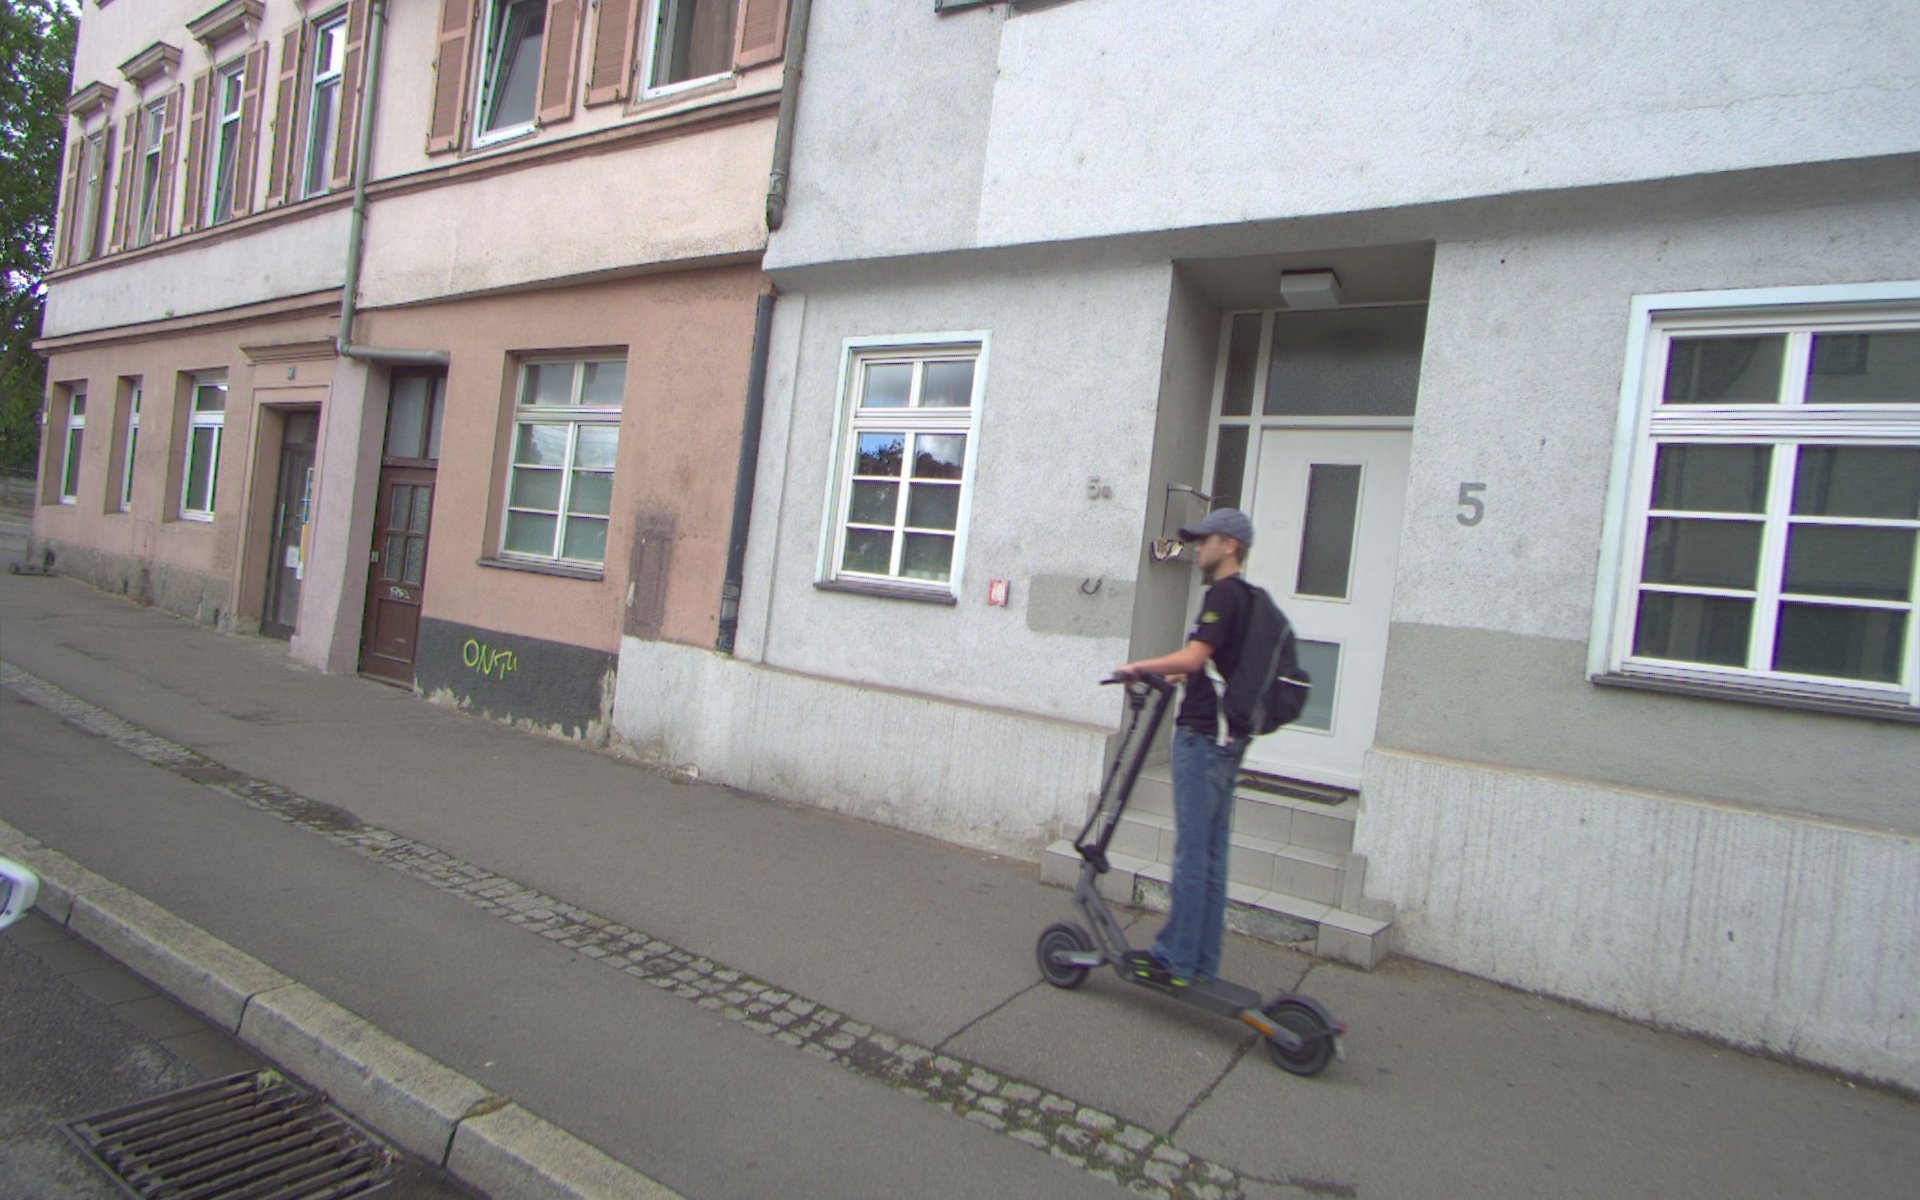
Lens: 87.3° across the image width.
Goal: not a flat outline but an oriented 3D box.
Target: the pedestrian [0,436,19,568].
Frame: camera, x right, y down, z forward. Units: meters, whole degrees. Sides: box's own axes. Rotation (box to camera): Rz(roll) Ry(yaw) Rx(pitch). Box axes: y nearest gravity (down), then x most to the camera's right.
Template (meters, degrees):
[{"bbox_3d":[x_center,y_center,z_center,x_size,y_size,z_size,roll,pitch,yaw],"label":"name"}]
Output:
[{"bbox_3d":[-14.155,-1.447,14.109,0.666,1.880,1.153,7,2,3],"label":"pedestrian"}]

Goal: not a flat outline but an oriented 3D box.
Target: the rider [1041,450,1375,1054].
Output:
[{"bbox_3d":[0.910,0.472,3.637,0.784,1.870,0.718,7,1,32],"label":"rider"}]
